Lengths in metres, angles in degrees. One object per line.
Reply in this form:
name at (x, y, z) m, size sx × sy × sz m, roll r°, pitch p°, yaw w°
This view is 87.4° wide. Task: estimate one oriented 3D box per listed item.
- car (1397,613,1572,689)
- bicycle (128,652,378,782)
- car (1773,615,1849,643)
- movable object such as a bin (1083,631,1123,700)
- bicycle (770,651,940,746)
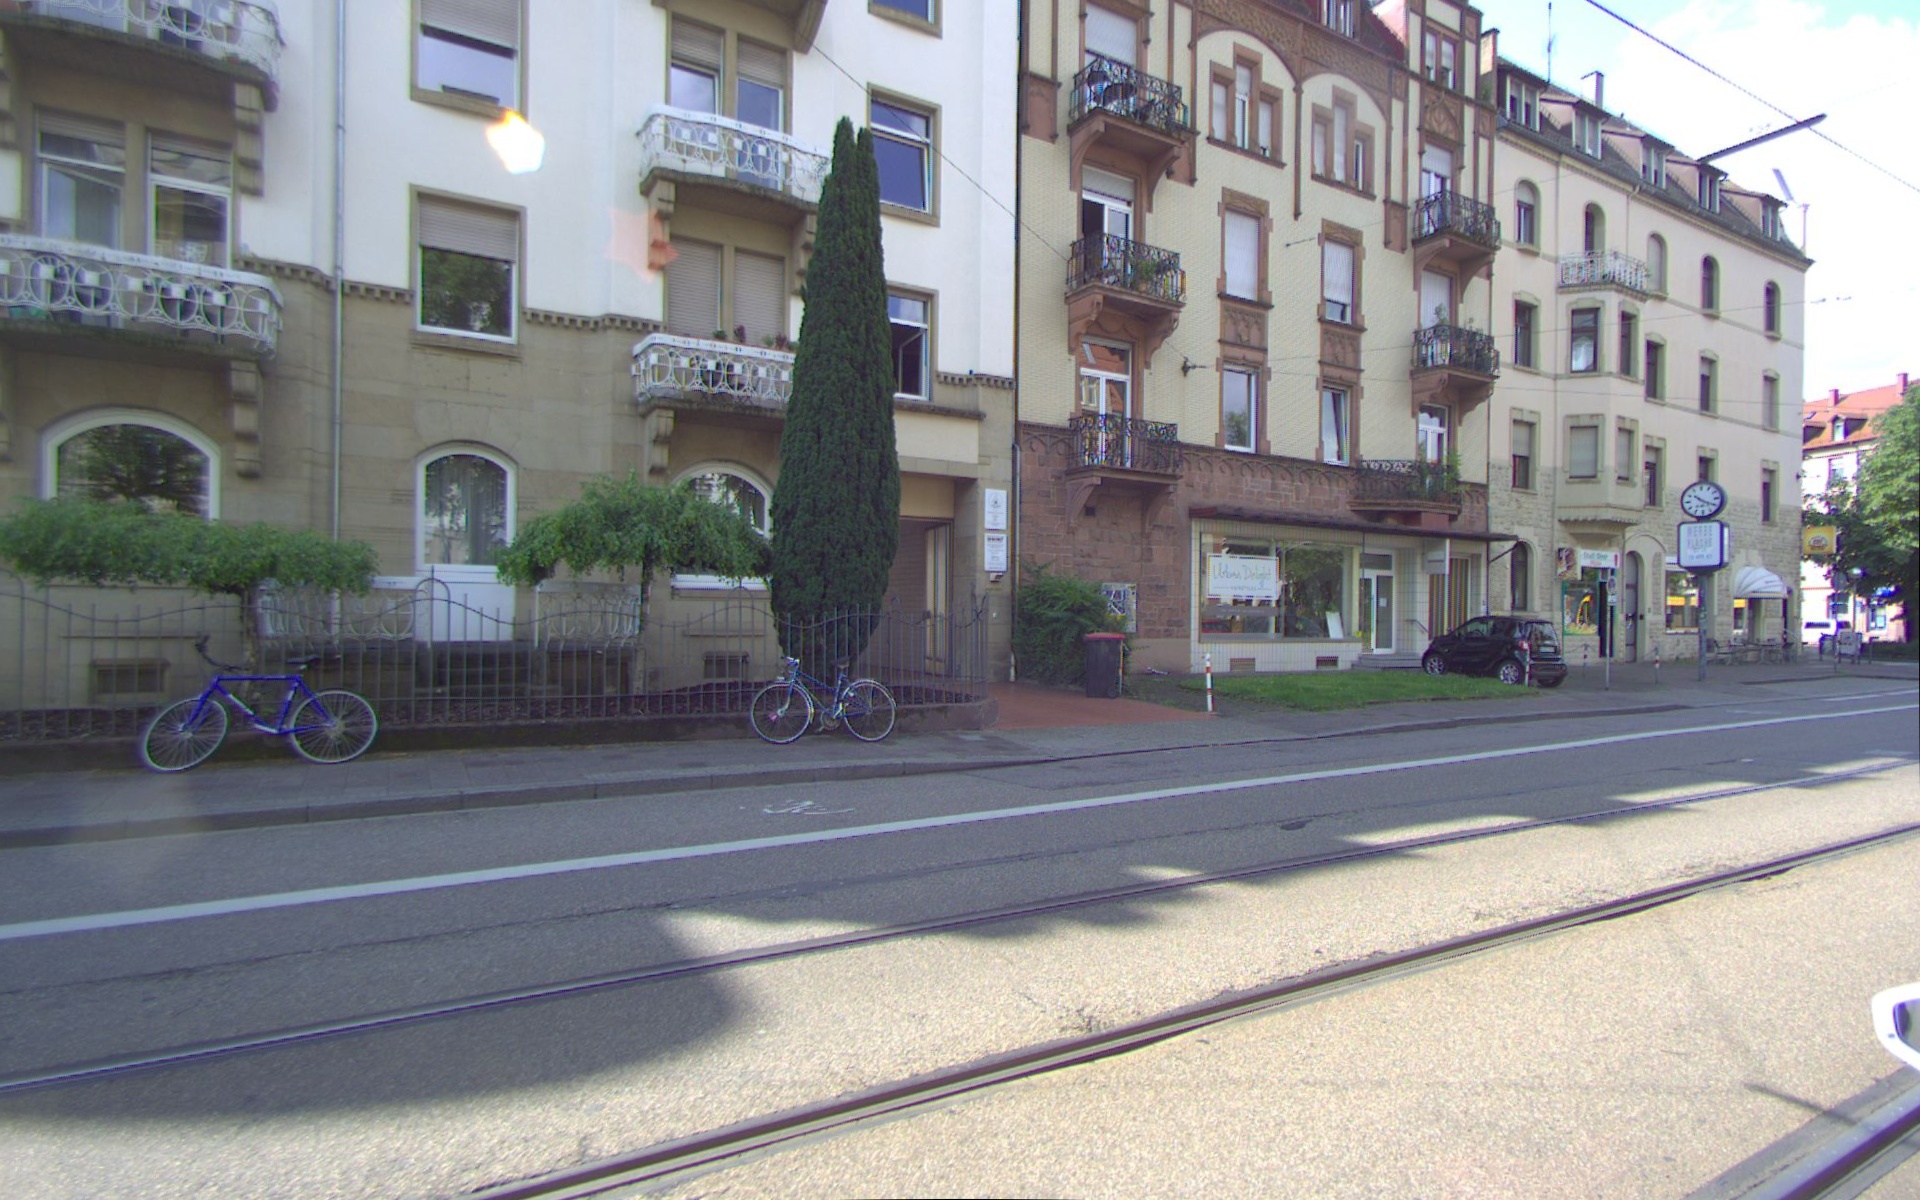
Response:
car at (12.153, 1.146, 23.446) m, size 1.657 × 1.533 × 3.224 m, roll 1°, pitch 1°, yaw -27°
bicycle at (-5.907, 0.954, 8.501) m, size 1.685 × 0.972 × 0.424 m, roll 1°, pitch 1°, yaw -30°
car at (67.453, 2.351, 79.663) m, size 1.970 × 2.039 × 4.116 m, roll 1°, pitch -4°, yaw -20°
movable object such as a bin at (2.412, 1.099, 16.990) m, size 0.595 × 1.084 × 0.597 m, roll 2°, pitch 2°, yaw 3°
bicycle at (-1.168, 1.100, 11.285) m, size 1.790 × 0.972 × 0.510 m, roll 3°, pitch 1°, yaw -24°
